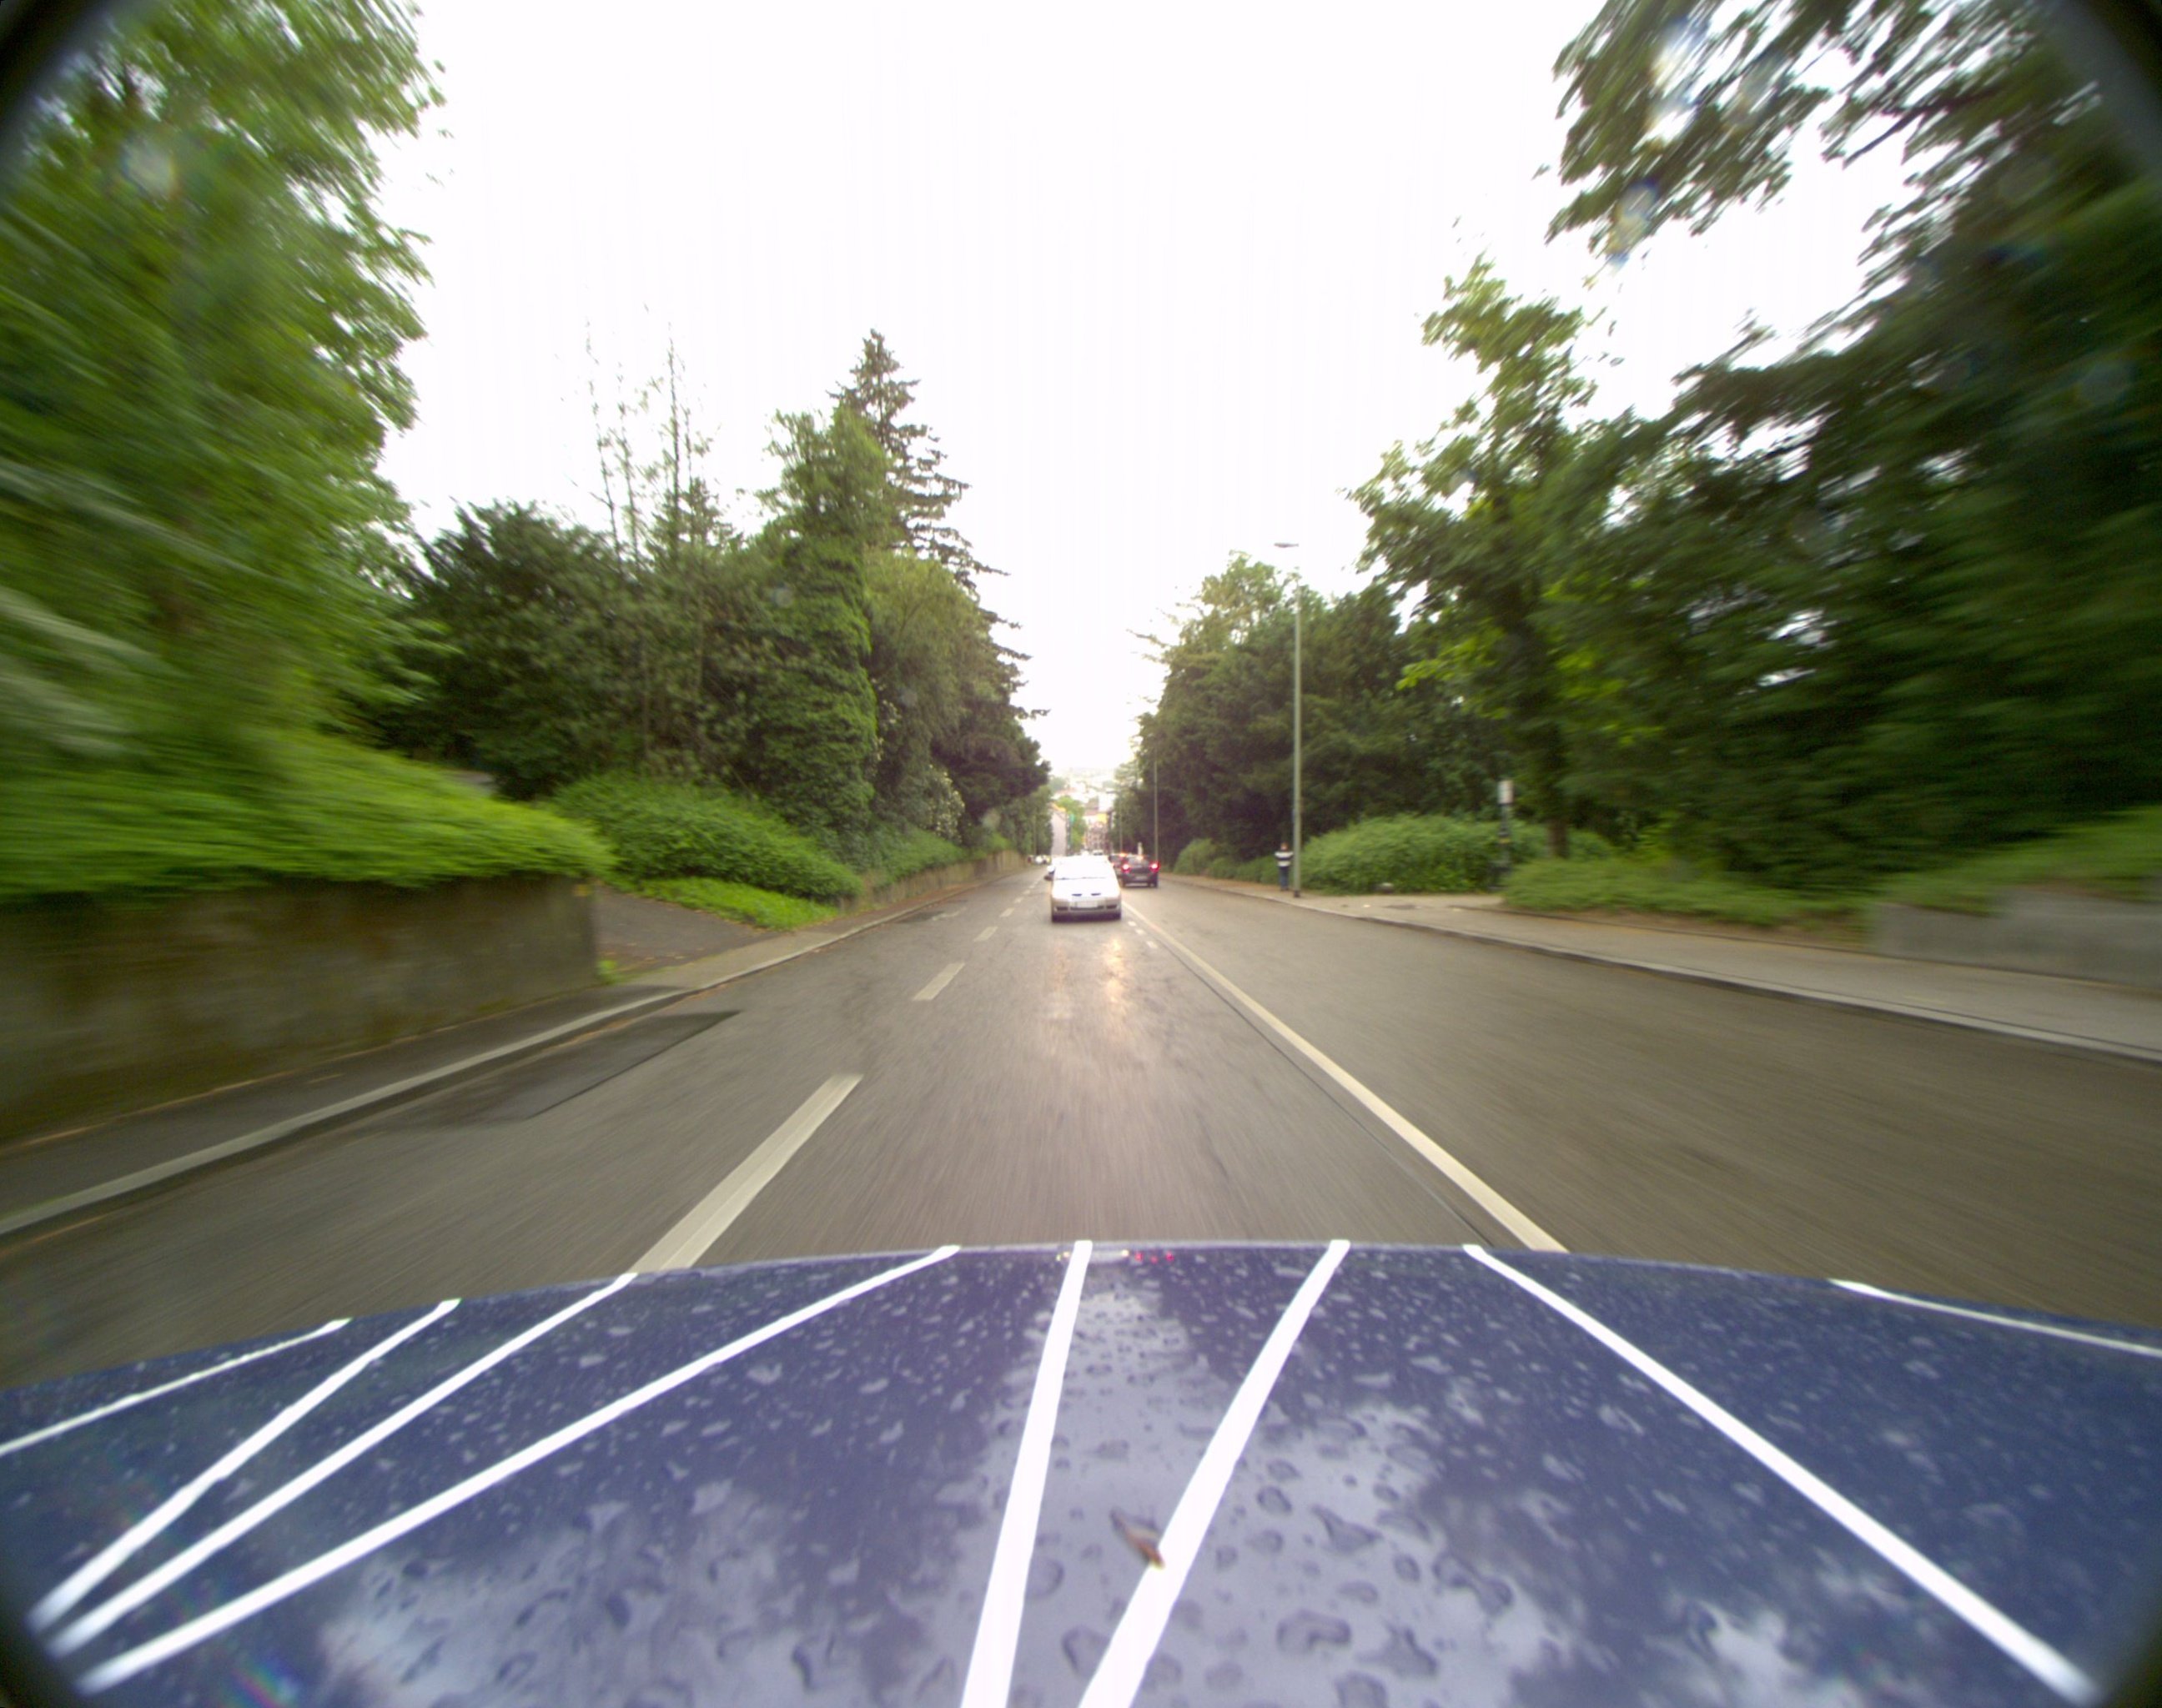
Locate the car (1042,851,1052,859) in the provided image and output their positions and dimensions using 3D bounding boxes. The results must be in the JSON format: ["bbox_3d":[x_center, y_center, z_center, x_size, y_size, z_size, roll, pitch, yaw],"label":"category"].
[{"bbox_3d":[-6.623,0.225,147.889,1.567,1.458,3.898,2,0,2],"label":"car"}]

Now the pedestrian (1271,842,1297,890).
[{"bbox_3d":[6.991,0.400,26.170,0.707,1.634,0.714,-1,1,5],"label":"pedestrian"}]

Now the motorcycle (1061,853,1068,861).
[{"bbox_3d":[-2.425,0.481,111.252,0.778,1.120,2.299,-2,1,4],"label":"motorcycle"}]

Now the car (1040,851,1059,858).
[{"bbox_3d":[-7.038,0.142,170.867,4.193,1.408,1.803,1,1,1],"label":"car"}]

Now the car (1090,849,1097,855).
[{"bbox_3d":[3.421,-0.446,203.108,1.765,1.482,4.000,-1,0,2],"label":"car"}]

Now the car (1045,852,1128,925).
[{"bbox_3d":[0.249,0.779,19.438,1.825,1.603,4.189,-2,0,4],"label":"car"}]

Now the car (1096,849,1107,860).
[{"bbox_3d":[3.277,0.048,120.987,1.648,1.595,4.186,2,0,2],"label":"car"}]

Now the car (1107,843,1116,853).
[{"bbox_3d":[7.956,-1.505,197.477,2.122,2.536,5.444,1,0,1],"label":"car"}]

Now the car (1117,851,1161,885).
[{"bbox_3d":[2.686,0.629,35.917,1.680,1.487,3.459,-1,0,-2],"label":"car"}]

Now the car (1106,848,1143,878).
[{"bbox_3d":[2.674,0.527,47.434,1.835,1.701,3.999,-2,0,-3],"label":"car"}]

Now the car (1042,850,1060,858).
[{"bbox_3d":[-7.293,-0.008,185.289,4.193,1.565,1.803,2,1,1],"label":"car"}]

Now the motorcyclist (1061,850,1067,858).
[{"bbox_3d":[-2.442,0.049,111.220,0.778,1.120,0.549,-2,1,3],"label":"motorcyclist"}]

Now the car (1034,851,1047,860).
[{"bbox_3d":[-6.957,0.307,129.436,1.742,1.469,4.740,1,0,2],"label":"car"}]

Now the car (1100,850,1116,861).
[{"bbox_3d":[3.803,0.254,108.447,1.865,1.485,4.754,3,0,-2],"label":"car"}]

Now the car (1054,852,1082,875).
[{"bbox_3d":[-0.981,0.713,57.772,1.998,1.603,3.966,-1,0,1],"label":"car"}]

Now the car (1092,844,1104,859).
[{"bbox_3d":[2.962,-0.394,132.570,2.122,2.536,5.444,1,0,1],"label":"car"}]

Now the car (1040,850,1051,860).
[{"bbox_3d":[-6.591,0.183,140.433,1.769,1.614,4.678,0,1,0],"label":"car"}]
